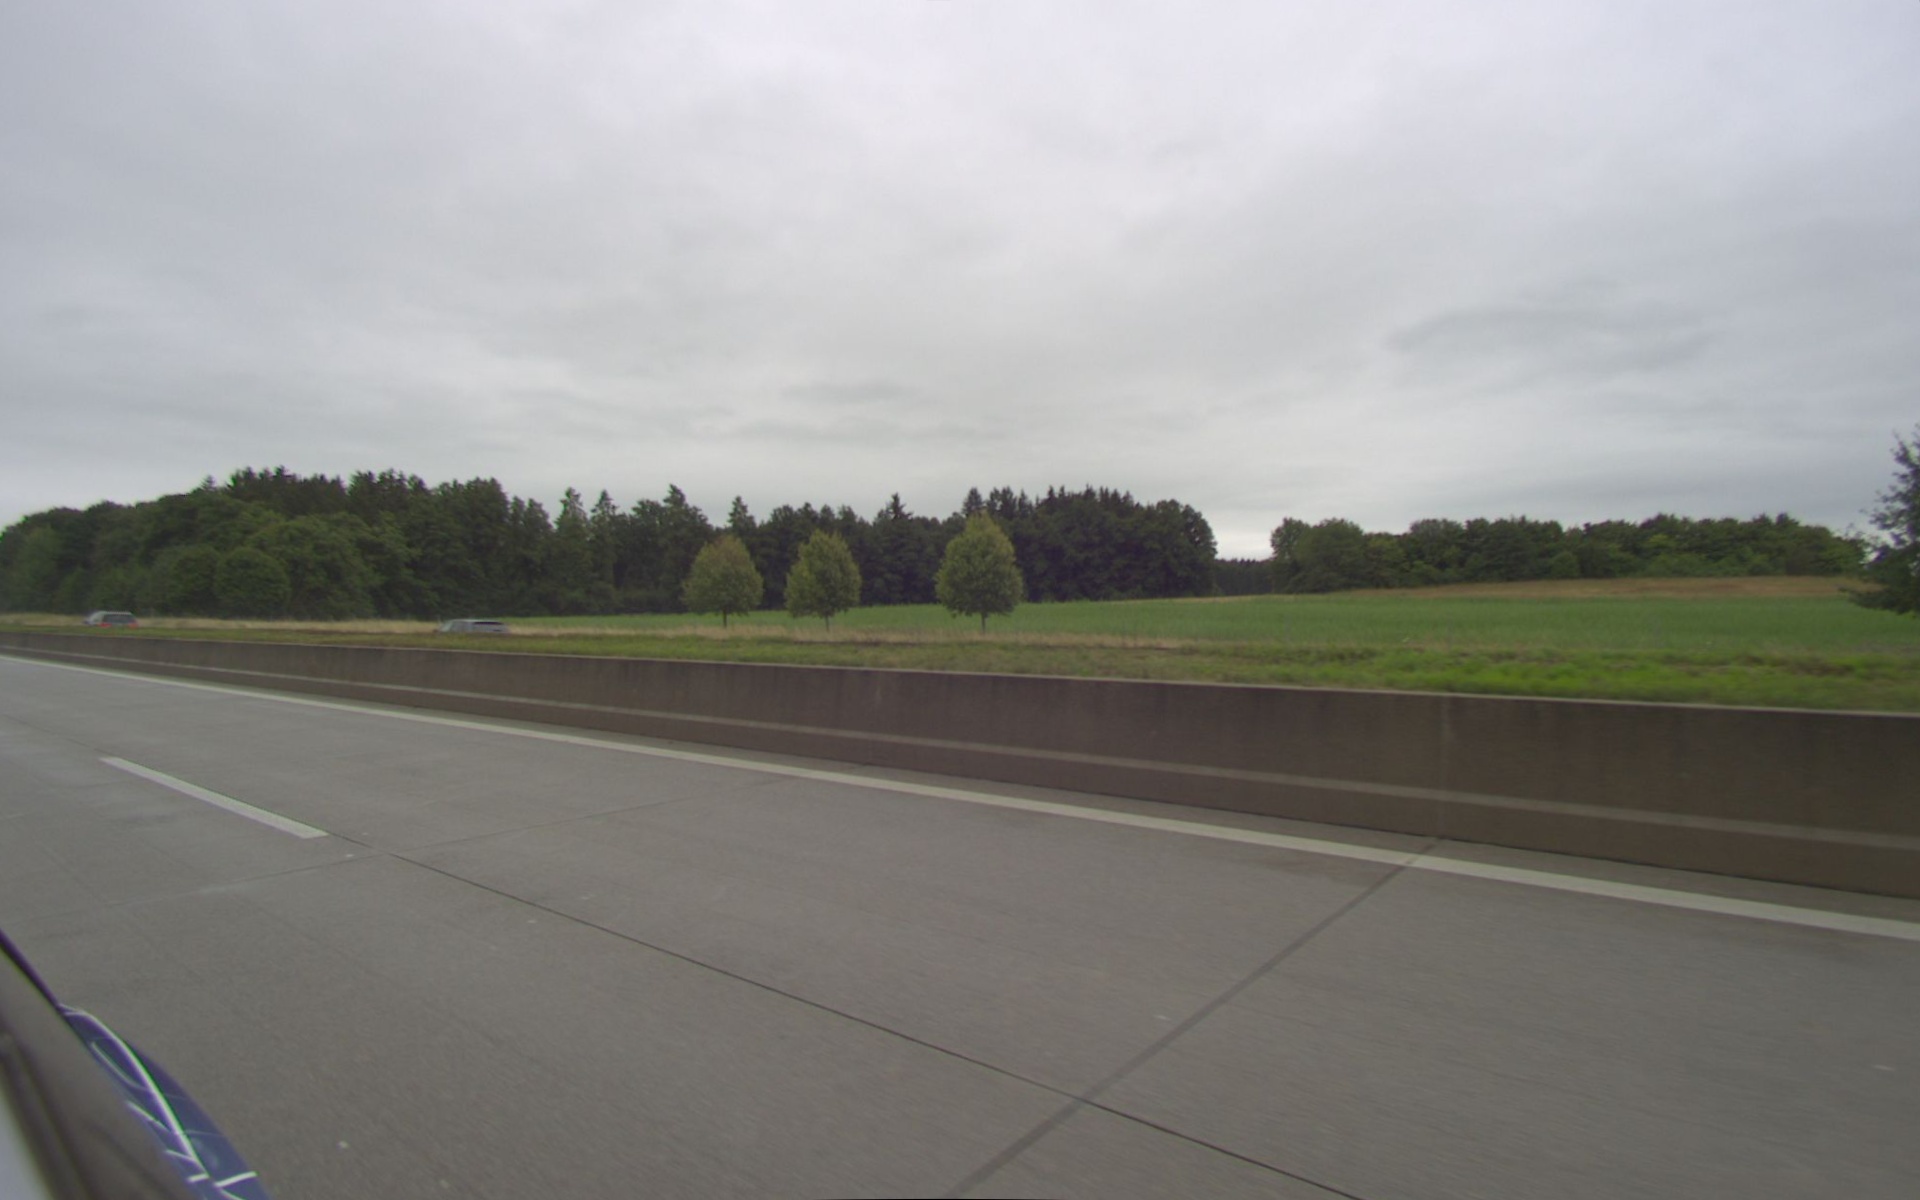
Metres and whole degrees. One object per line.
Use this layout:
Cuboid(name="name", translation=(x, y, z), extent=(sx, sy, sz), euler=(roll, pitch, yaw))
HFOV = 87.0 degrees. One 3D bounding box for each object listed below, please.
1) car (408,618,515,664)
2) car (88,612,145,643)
Cuboid(name="car", translation=(-16.864, 1.345, 34.183), extent=(4.061, 1.408, 1.656), euler=(-1, 0, 39))
Cuboid(name="car", translation=(-46.596, 1.487, 55.889), extent=(4.061, 1.659, 1.656), euler=(-1, -1, 39))
